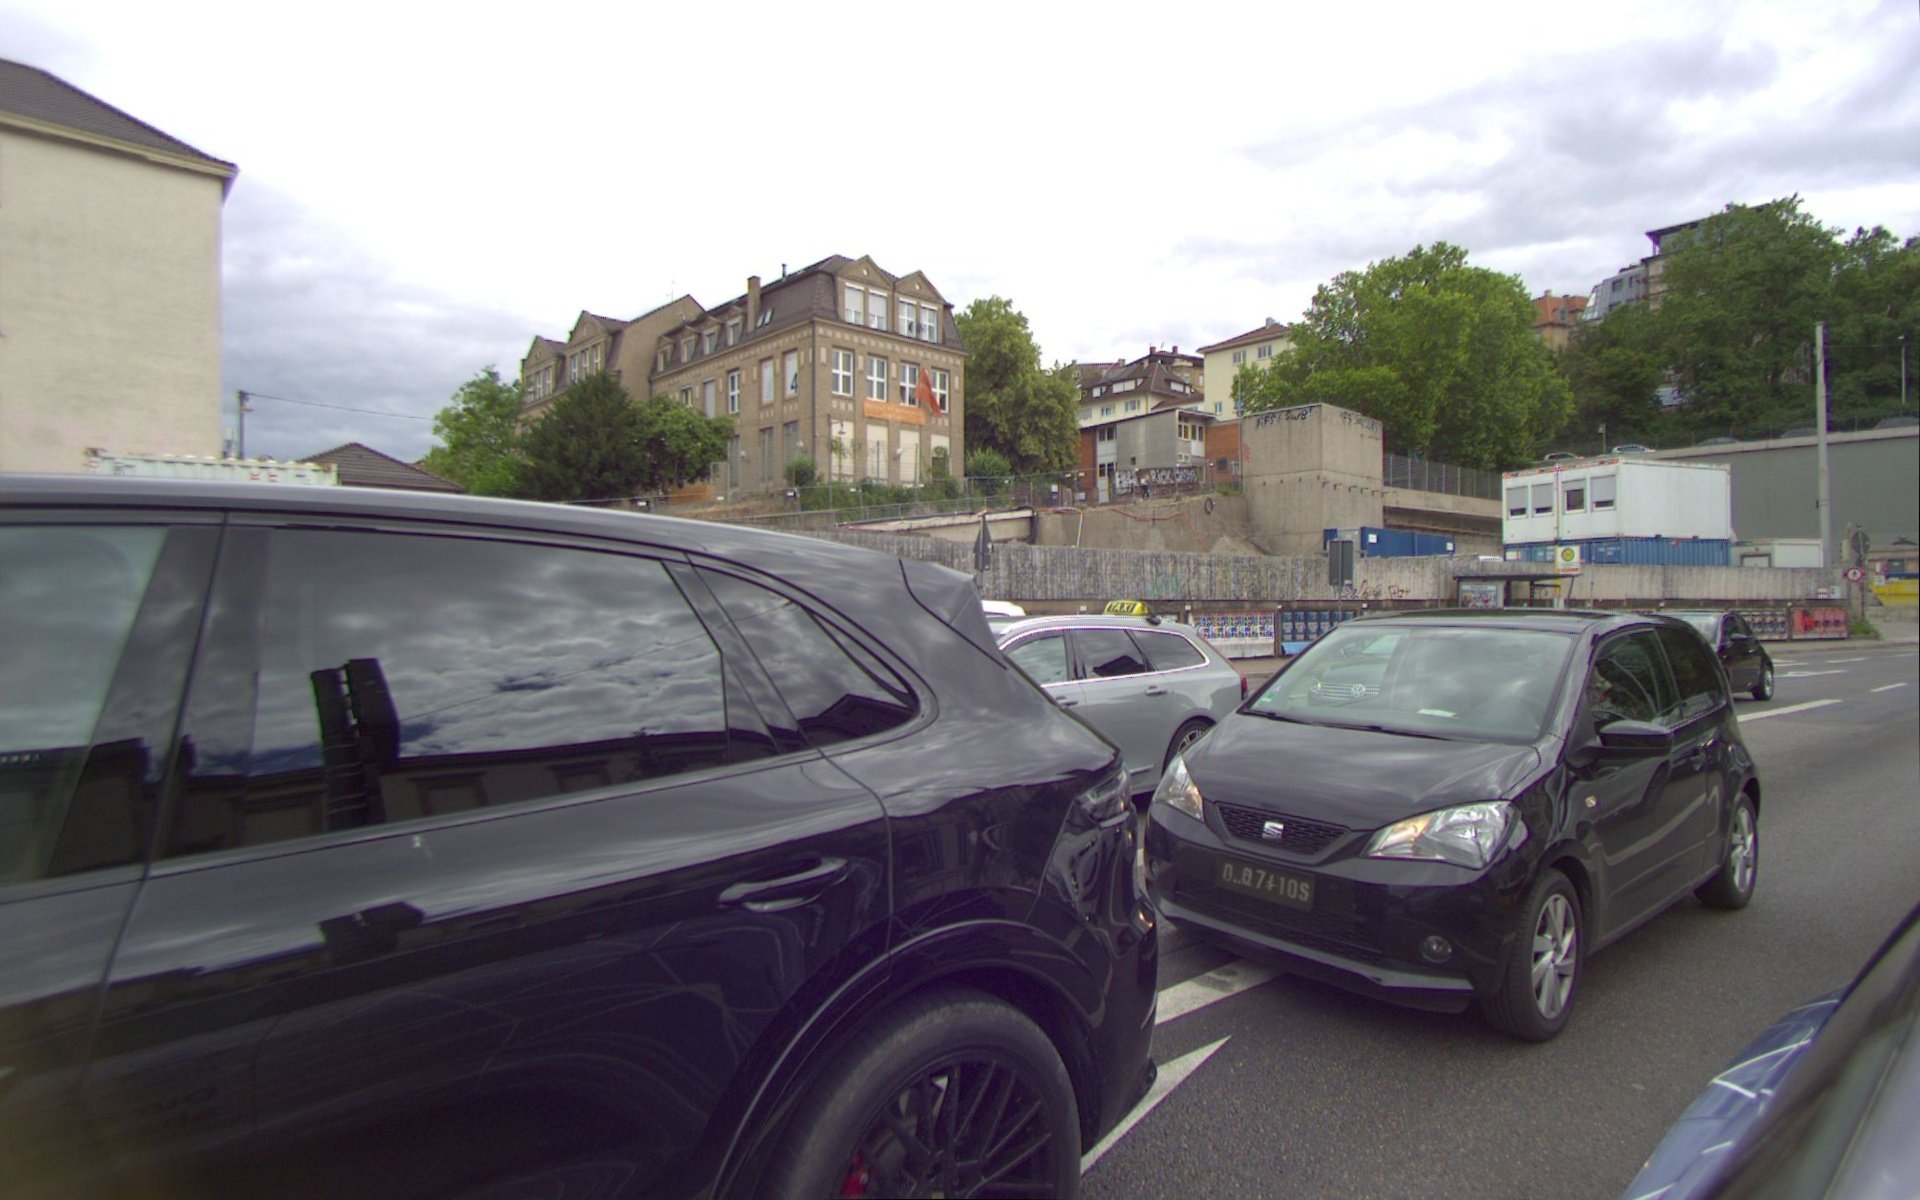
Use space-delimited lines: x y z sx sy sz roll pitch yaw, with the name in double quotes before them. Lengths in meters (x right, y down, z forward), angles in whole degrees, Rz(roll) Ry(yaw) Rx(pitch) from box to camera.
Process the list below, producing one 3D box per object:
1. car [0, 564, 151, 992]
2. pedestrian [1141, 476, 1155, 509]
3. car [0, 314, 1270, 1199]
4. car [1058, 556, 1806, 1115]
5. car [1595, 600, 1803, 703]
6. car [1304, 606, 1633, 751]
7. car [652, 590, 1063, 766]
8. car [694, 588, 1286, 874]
"car" -5.063 0.645 3.458 3.581 1.529 1.826 -1 0 -39
"pedestrian" 10.746 -6.158 57.892 0.558 1.817 0.555 0 0 -30
"car" -1.659 0.564 1.668 4.497 1.689 1.998 -1 0 -39
"car" 2.410 0.641 4.720 3.841 1.575 1.661 -1 0 -39
"car" 11.954 0.764 16.312 3.711 1.478 1.721 1 -2 -38
"car" 6.022 0.781 11.807 4.139 1.381 1.827 1 0 -38
"car" -0.941 0.644 10.604 4.004 1.484 1.824 -1 0 -42
"car" 0.398 0.668 7.341 4.142 1.484 1.825 -1 0 -40
